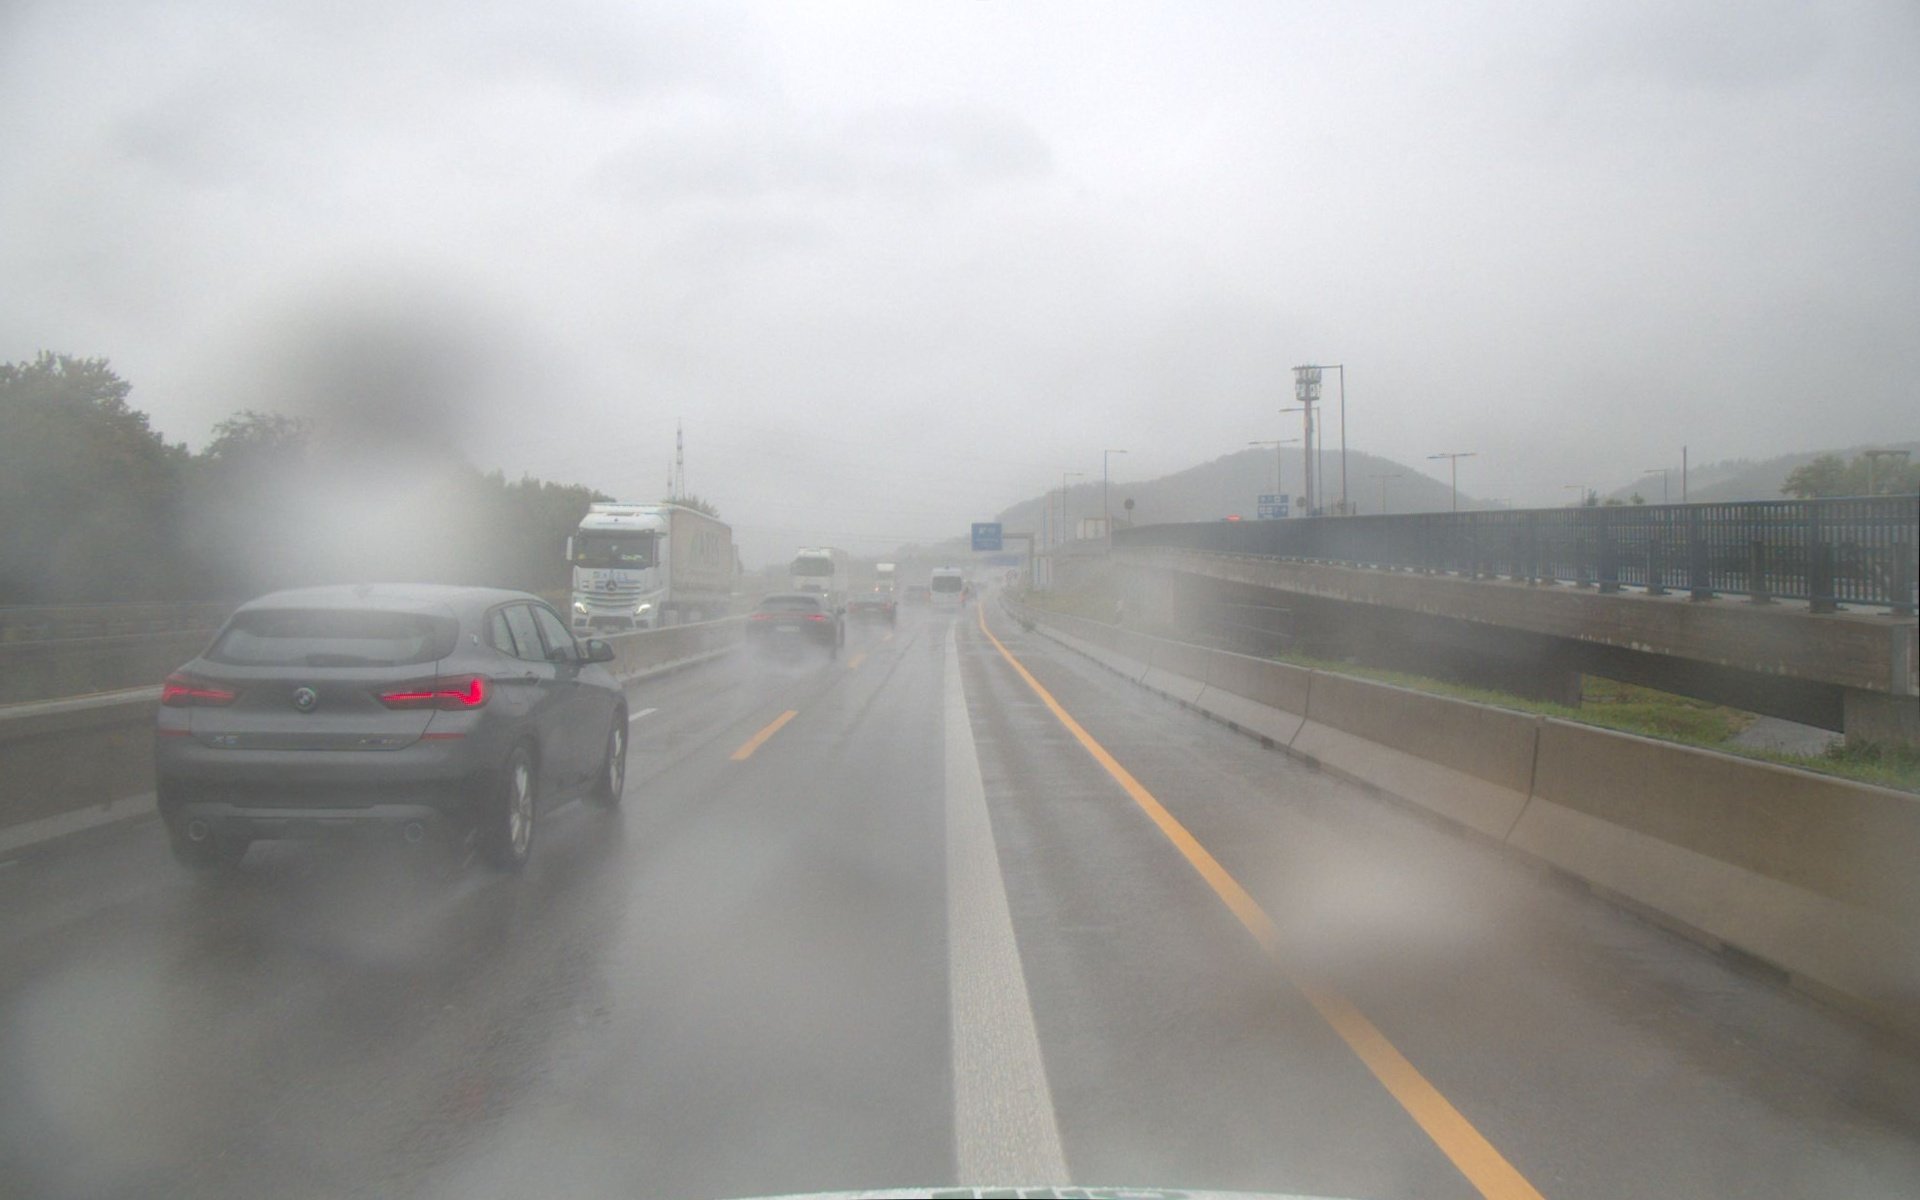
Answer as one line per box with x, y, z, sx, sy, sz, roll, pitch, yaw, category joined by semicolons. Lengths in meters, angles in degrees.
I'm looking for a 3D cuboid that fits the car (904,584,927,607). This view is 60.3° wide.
-3.139;-0.315;117.193;1.535;1.506;2.820;-2;-1;-2;car

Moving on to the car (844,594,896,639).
-3.373;0.602;62.818;1.807;1.517;4.260;-2;1;-2;car

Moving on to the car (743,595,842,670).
-3.593;0.697;36.159;1.807;1.517;4.260;1;-1;-2;car

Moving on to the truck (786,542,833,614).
-10.093;-1.386;111.550;2.507;4.684;6.452;1;-1;0;truck

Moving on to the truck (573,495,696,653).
-9.954;-0.716;51.223;2.451;4.541;6.879;1;-1;-1;truck

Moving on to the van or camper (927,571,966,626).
-0.724;-0.084;87.800;1.956;2.826;4.048;1;-1;-2;van or camper

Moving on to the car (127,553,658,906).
-3.058;0.586;10.057;1.666;1.626;4.844;0;0;-2;car

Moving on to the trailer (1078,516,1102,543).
13.783;-7.404;176.058;1.952;2.143;13.771;1;-1;2;trailer

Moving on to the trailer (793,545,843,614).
-10.054;-1.358;118.211;2.495;4.670;12.008;1;-1;0;trailer
